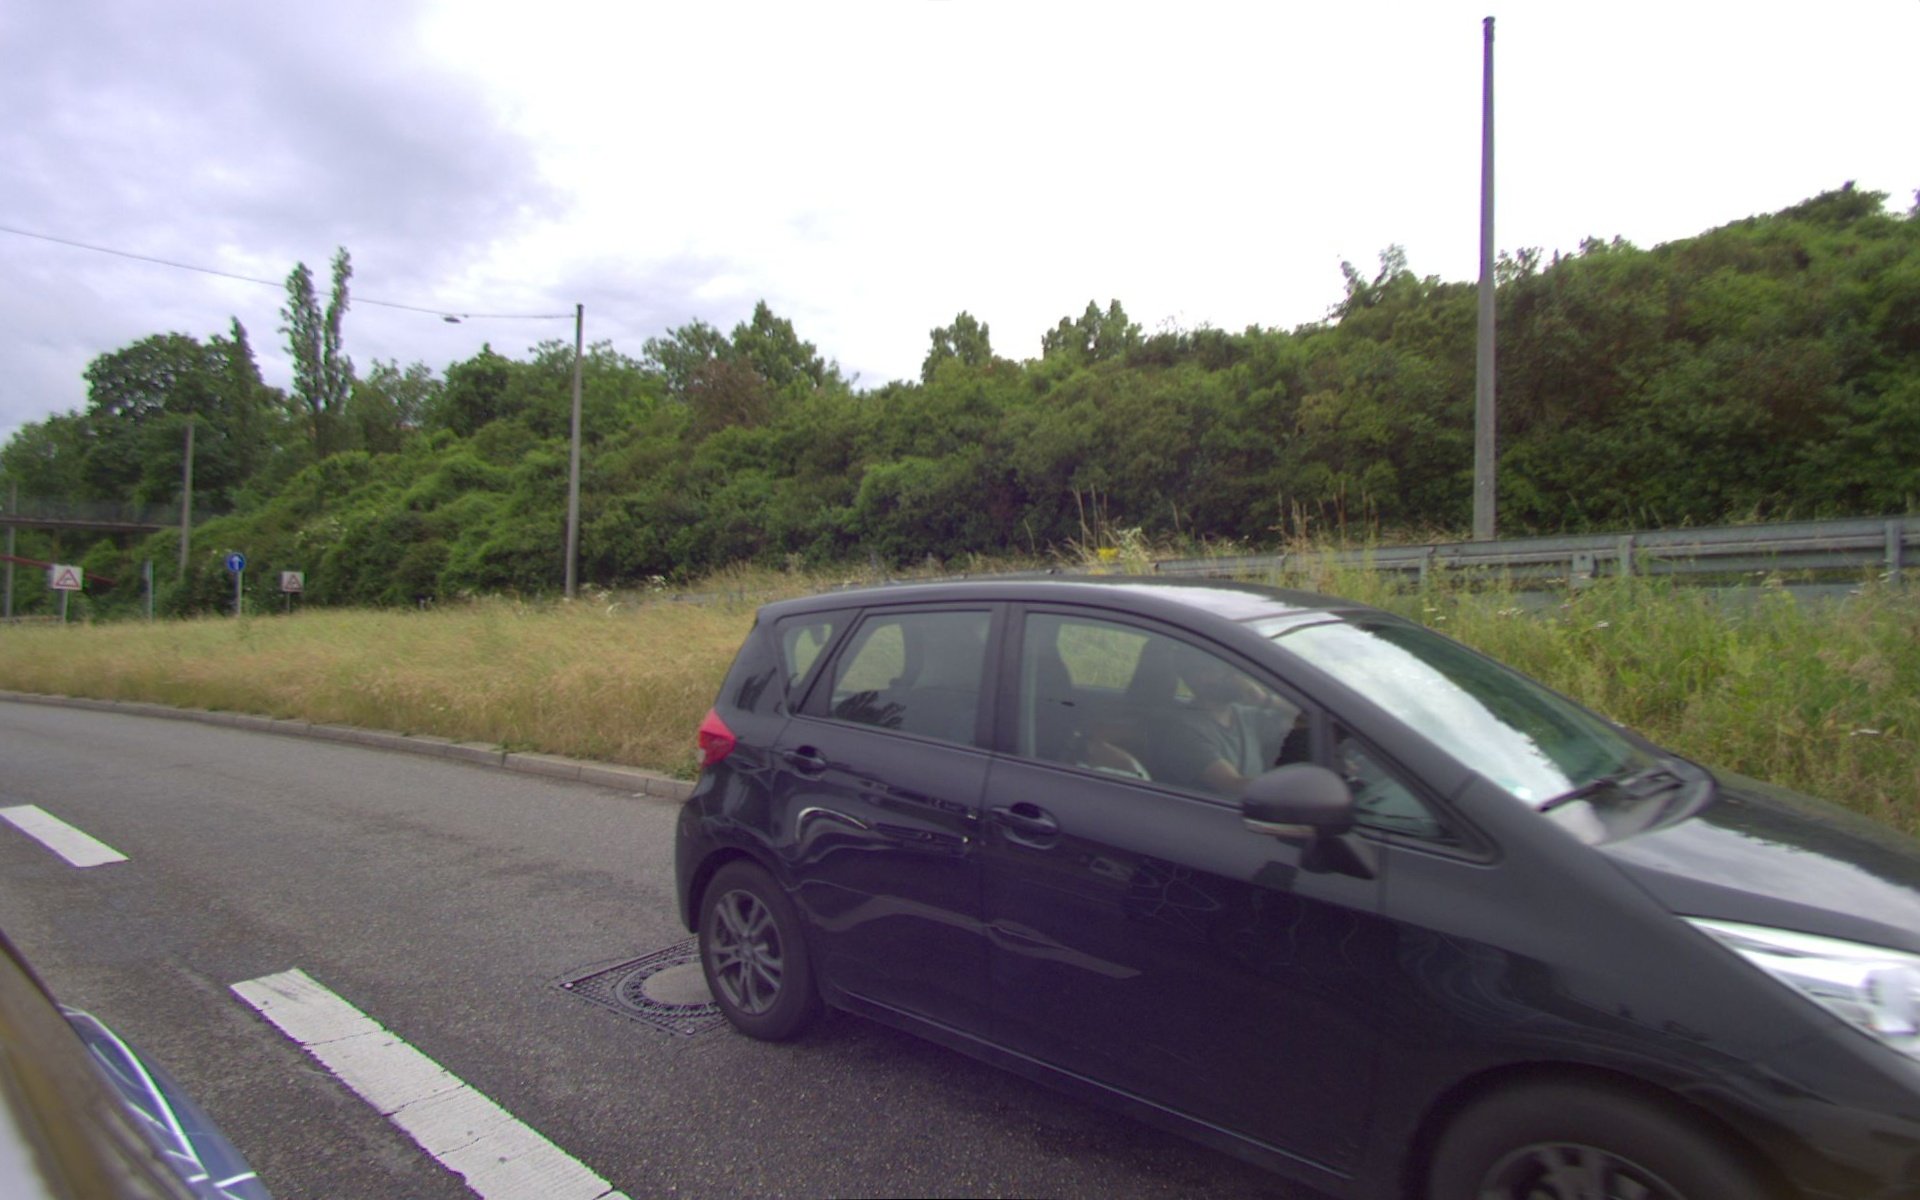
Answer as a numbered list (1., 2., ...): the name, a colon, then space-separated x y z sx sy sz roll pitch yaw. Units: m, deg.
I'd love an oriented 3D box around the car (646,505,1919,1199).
1. car: 0.846 0.621 3.014 3.776 1.515 1.625 -2 1 41
